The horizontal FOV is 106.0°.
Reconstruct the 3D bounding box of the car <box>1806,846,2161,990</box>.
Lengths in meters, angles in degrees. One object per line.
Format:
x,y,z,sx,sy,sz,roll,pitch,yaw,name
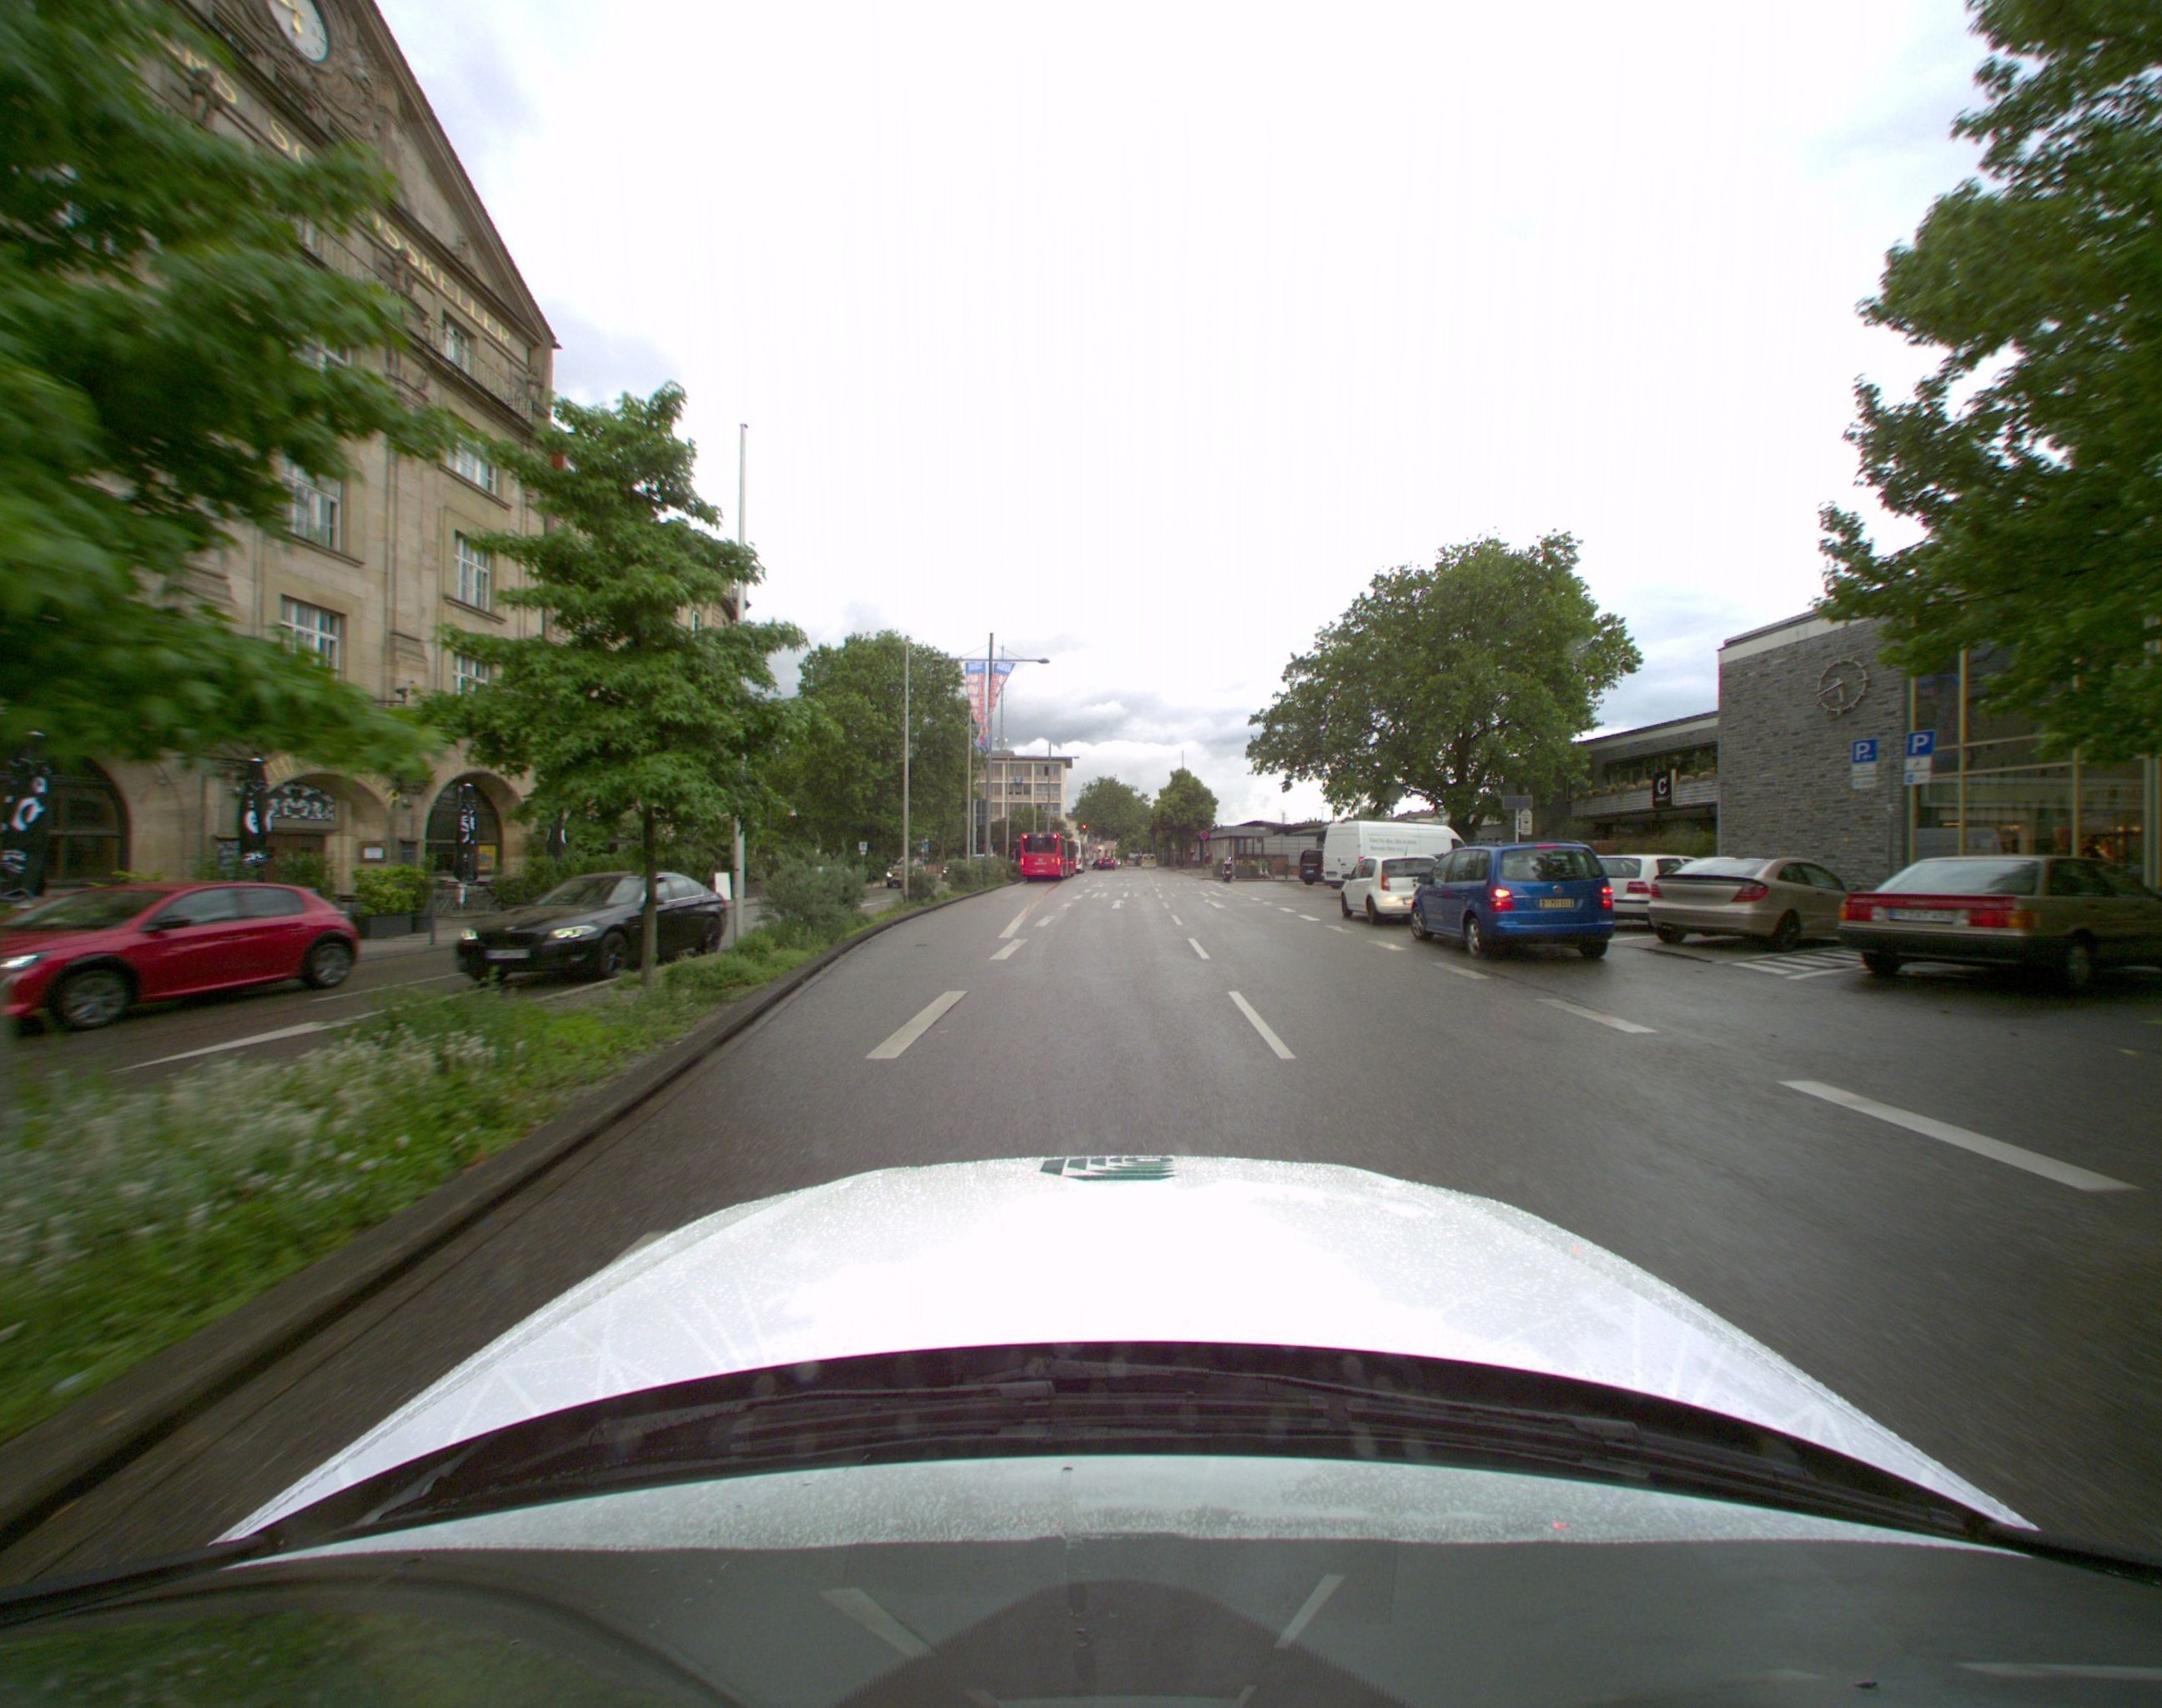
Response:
10.702,0.607,9.277,4.198,1.325,1.828,-1,-1,-19,car

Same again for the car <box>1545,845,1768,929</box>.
11.316,0.583,16.012,4.007,1.443,1.849,-1,-1,-26,car

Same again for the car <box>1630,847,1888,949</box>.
10.803,0.618,12.943,4.011,1.359,1.847,-1,-1,-30,car

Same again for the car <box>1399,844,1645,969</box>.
6.420,0.701,12.435,1.850,1.569,4.005,-1,-1,5,car
